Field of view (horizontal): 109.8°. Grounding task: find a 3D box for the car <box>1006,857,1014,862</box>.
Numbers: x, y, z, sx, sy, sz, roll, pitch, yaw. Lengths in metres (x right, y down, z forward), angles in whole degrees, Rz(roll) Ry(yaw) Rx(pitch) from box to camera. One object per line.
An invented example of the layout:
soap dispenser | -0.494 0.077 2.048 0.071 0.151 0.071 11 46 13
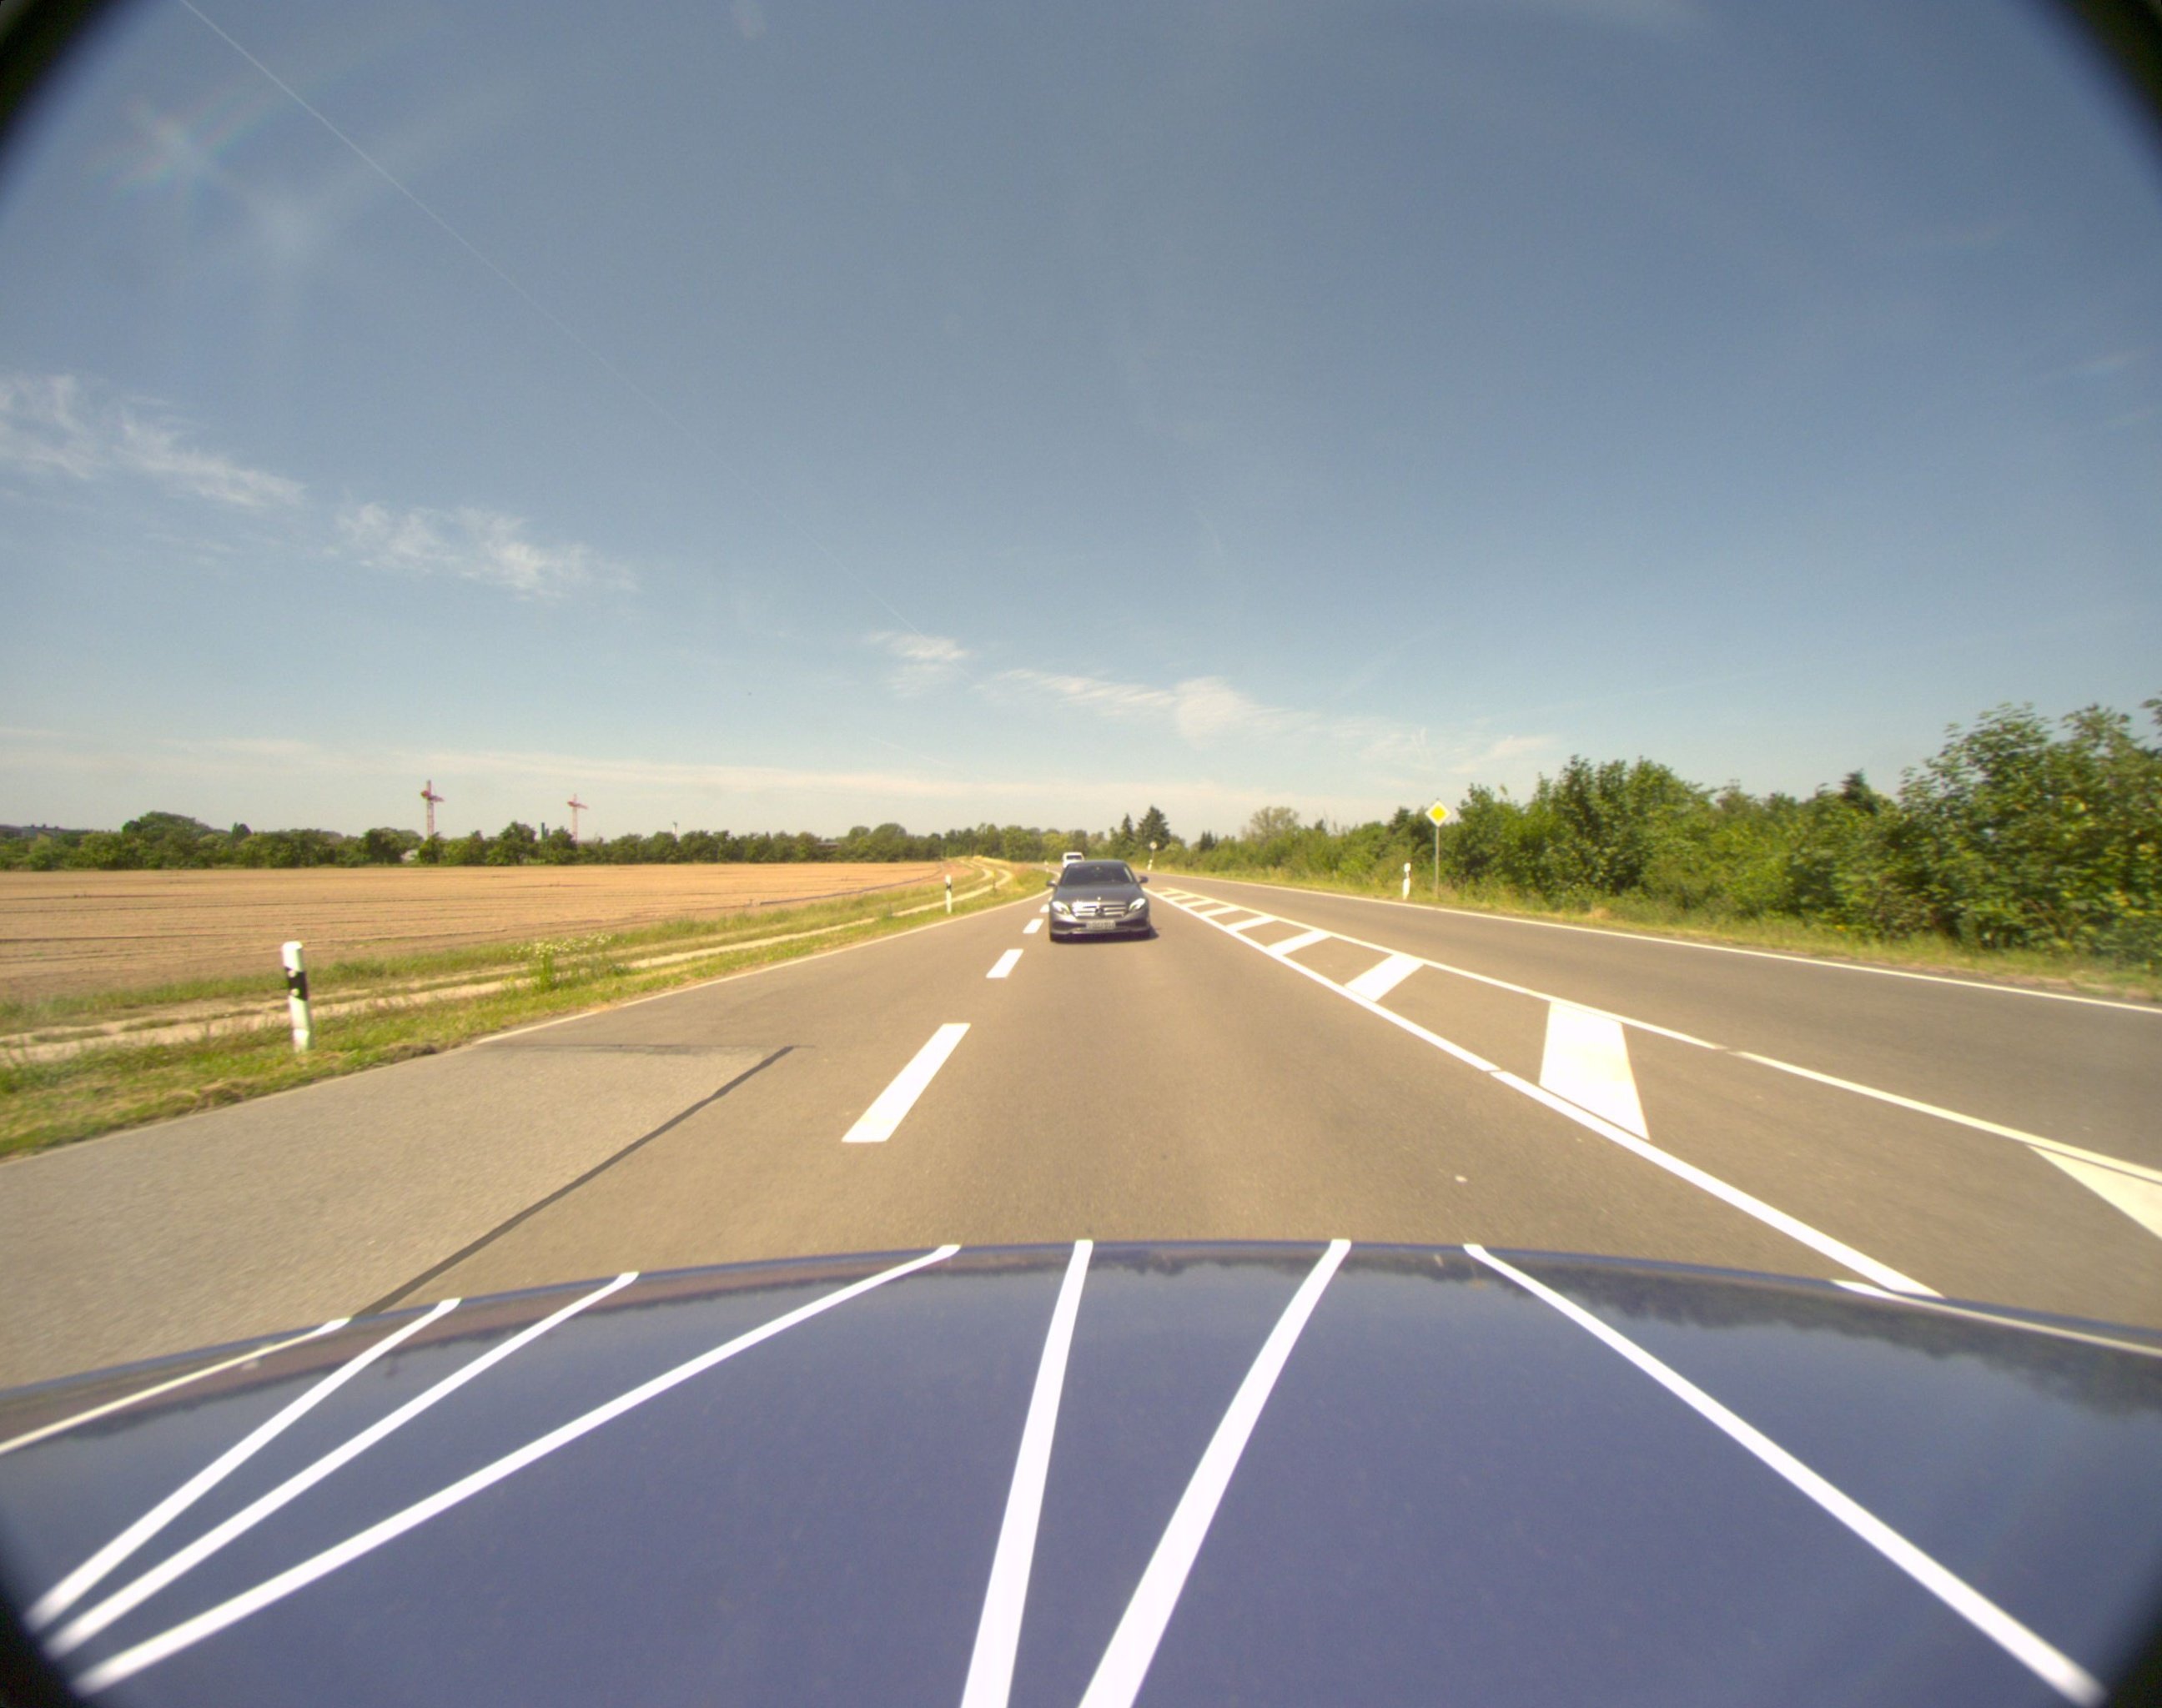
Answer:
car | -20.897 1.479 223.547 1.698 1.355 3.822 -2 1 -10

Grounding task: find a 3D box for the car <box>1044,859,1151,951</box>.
car | 0.441 0.914 15.489 1.831 1.540 4.500 -1 0 4

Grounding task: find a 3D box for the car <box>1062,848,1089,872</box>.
car | -0.550 0.535 69.563 2.180 2.002 5.023 -3 0 -3
